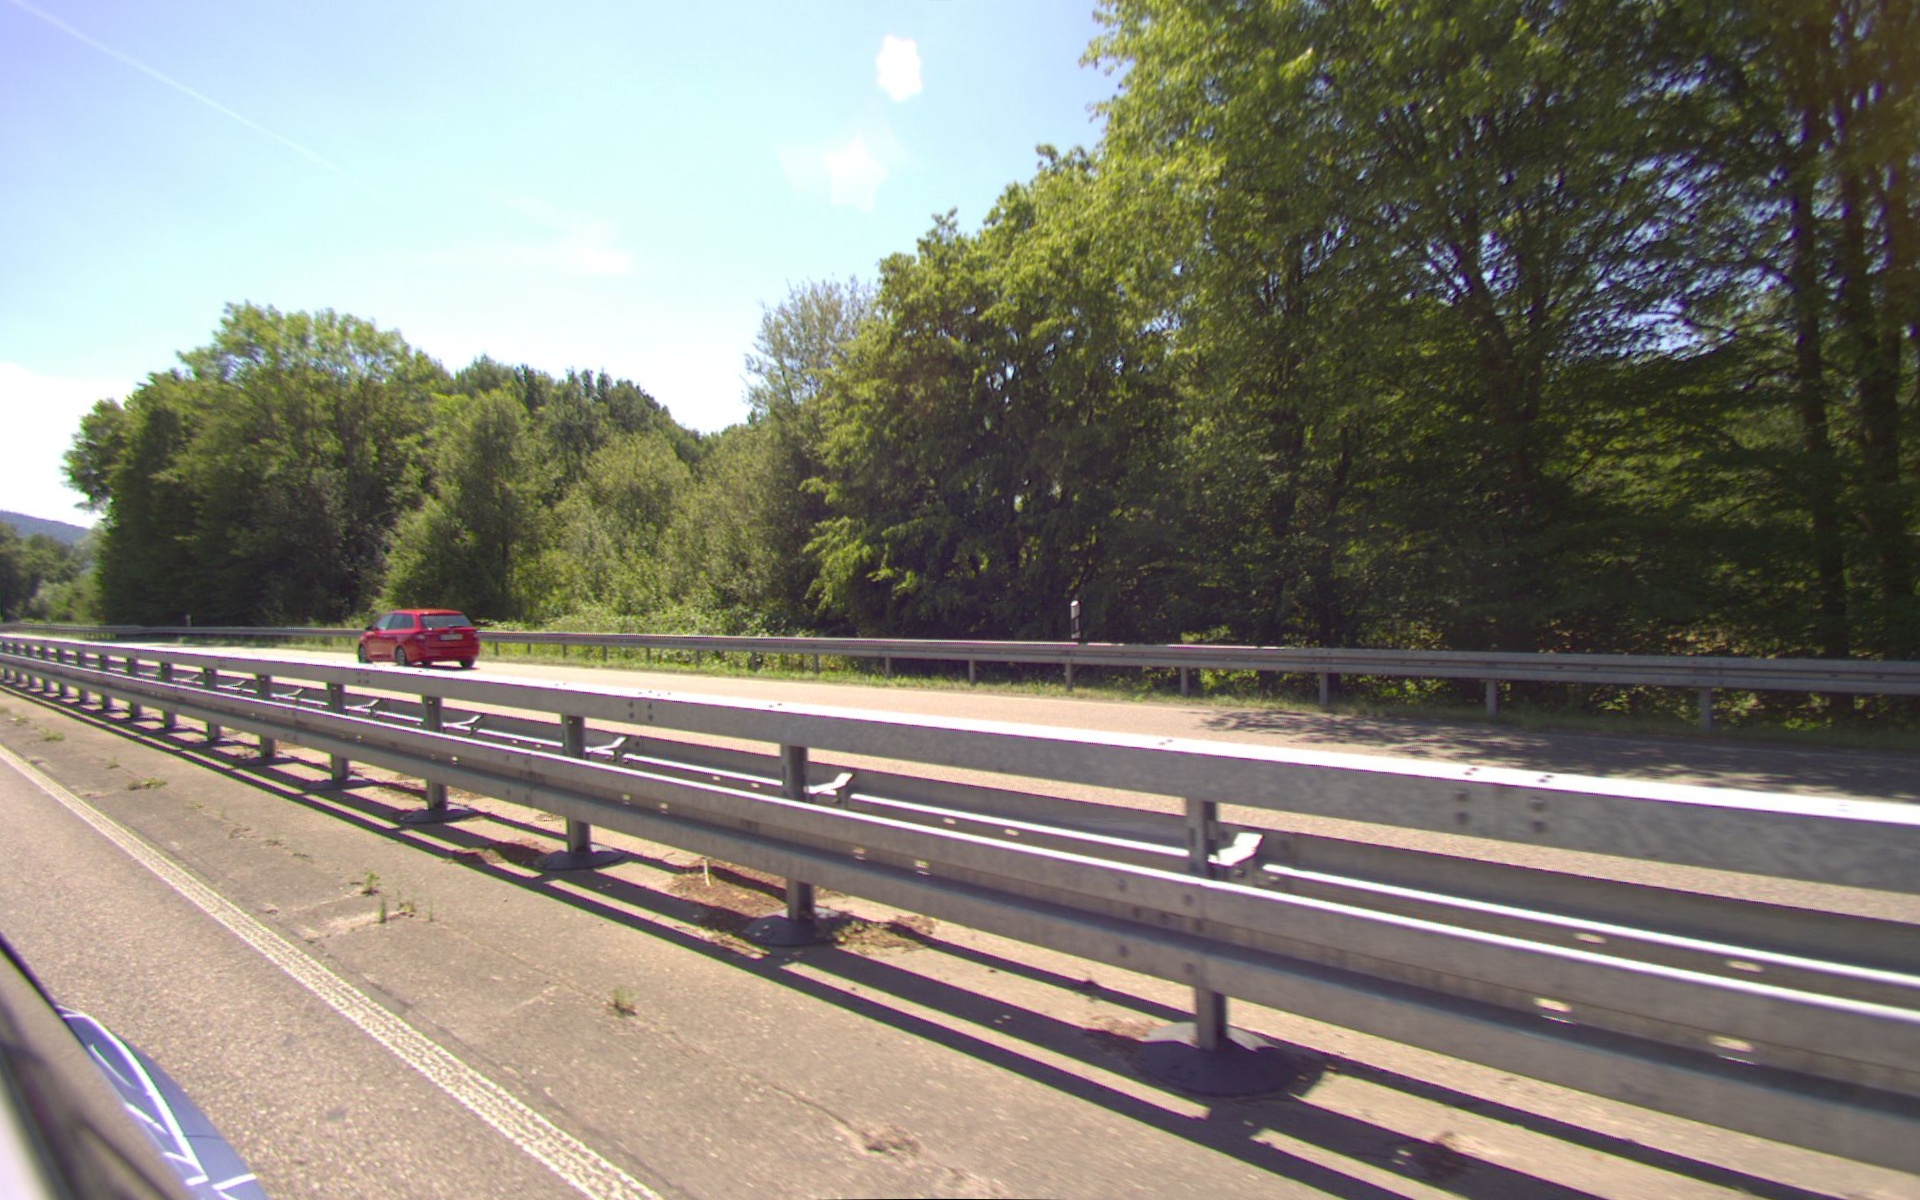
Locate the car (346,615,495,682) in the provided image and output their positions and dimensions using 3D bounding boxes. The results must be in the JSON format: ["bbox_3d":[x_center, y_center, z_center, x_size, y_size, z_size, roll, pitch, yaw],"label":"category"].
[{"bbox_3d":[-13.153,1.117,24.561,4.574,1.430,1.757,-1,0,42],"label":"car"}]
